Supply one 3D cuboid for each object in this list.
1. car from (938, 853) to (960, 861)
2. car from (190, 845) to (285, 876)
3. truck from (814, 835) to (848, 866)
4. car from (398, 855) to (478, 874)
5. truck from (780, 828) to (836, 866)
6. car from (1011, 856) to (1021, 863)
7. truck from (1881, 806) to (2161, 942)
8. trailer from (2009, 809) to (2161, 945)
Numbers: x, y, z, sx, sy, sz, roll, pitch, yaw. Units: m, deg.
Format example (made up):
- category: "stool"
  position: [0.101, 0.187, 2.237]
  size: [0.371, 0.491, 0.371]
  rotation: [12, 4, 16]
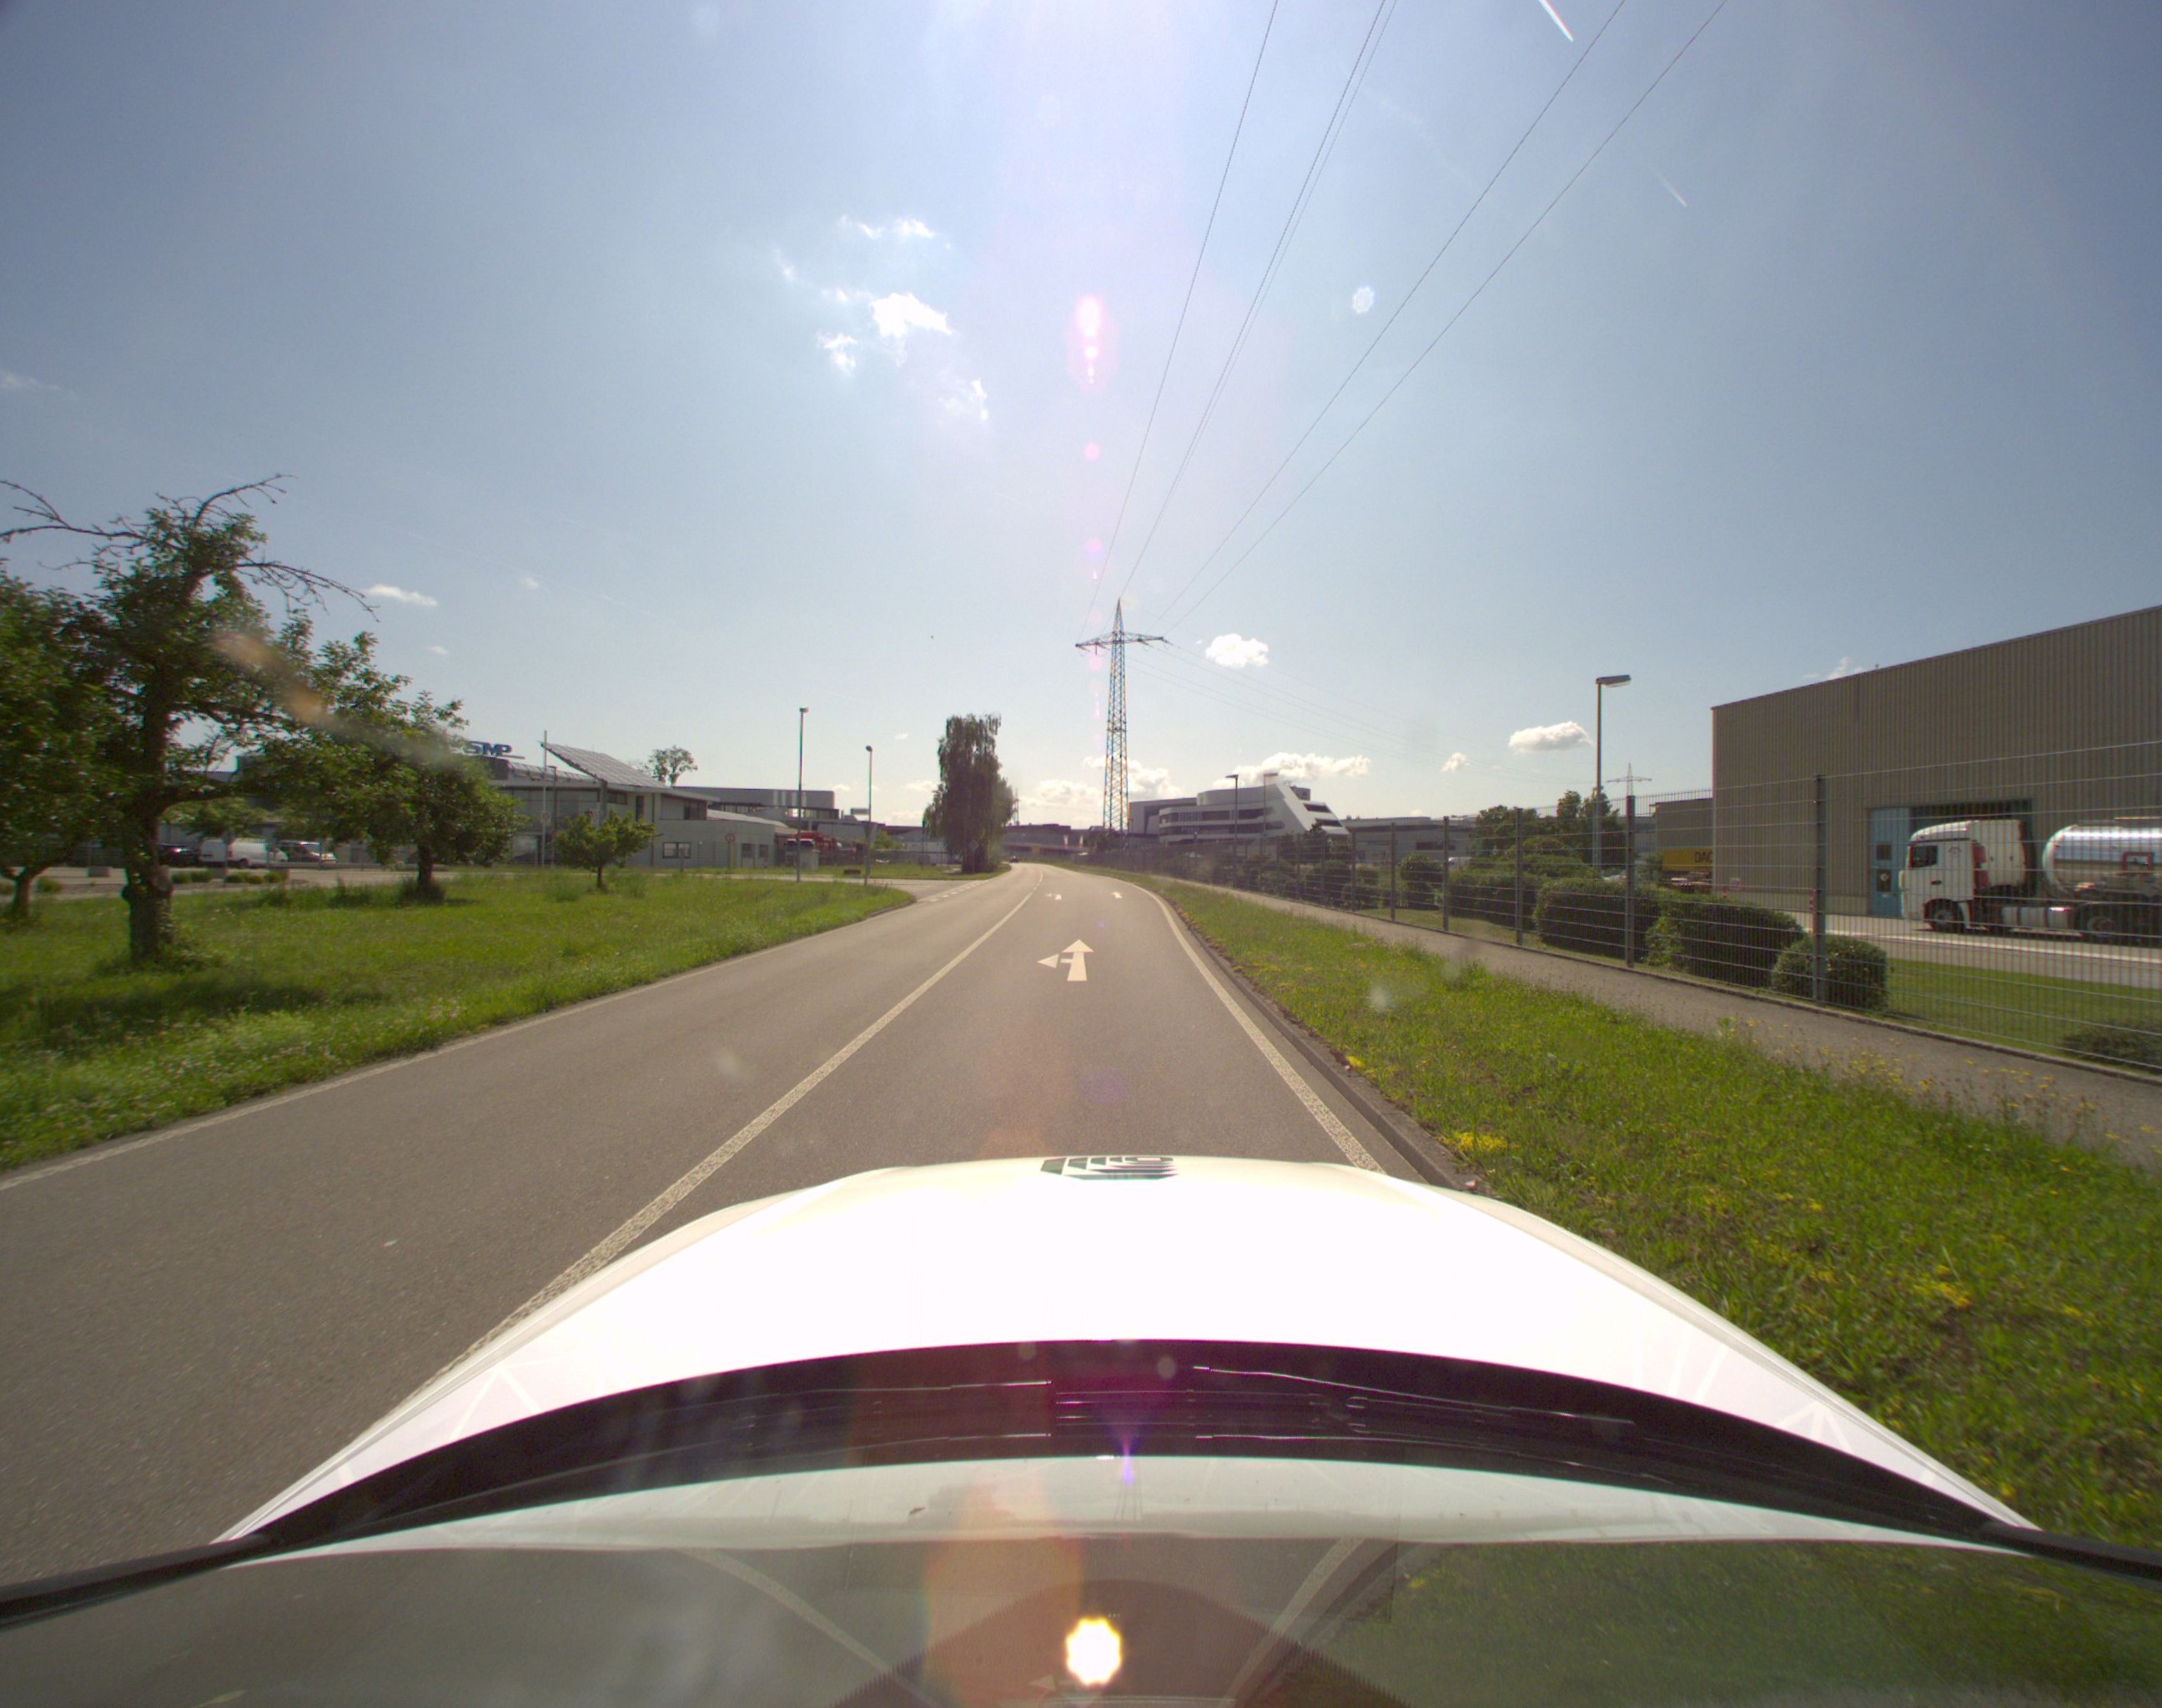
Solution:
- category: "car"
  position: [-25.513, 0.598, 157.297]
  size: [3.981, 1.574, 1.996]
  rotation: [1, 0, -6]
- category: "car"
  position: [-57.681, 0.453, 55.814]
  size: [1.993, 2.014, 4.728]
  rotation: [1, 0, -9]
- category: "truck"
  position: [-28.880, -0.334, 94.267]
  size: [2.430, 3.452, 5.435]
  rotation: [1, 0, -3]
- category: "car"
  position: [-44.099, 0.700, 55.915]
  size: [3.979, 1.244, 1.801]
  rotation: [1, 0, -4]
- category: "truck"
  position: [-27.833, -0.634, 83.652]
  size: [2.747, 3.559, 10.255]
  rotation: [1, 0, -3]
- category: "car"
  position: [-15.696, 1.295, 196.401]
  size: [2.006, 1.508, 3.999]
  rotation: [1, 0, -1]
- category: "truck"
  position: [31.188, 0.556, 26.588]
  size: [3.590, 3.867, 6.393]
  rotation: [-1, 0, -7]
- category: "trailer"
  position: [31.661, 0.606, 19.845]
  size: [3.584, 3.735, 12.217]
  rotation: [0, 0, -5]
